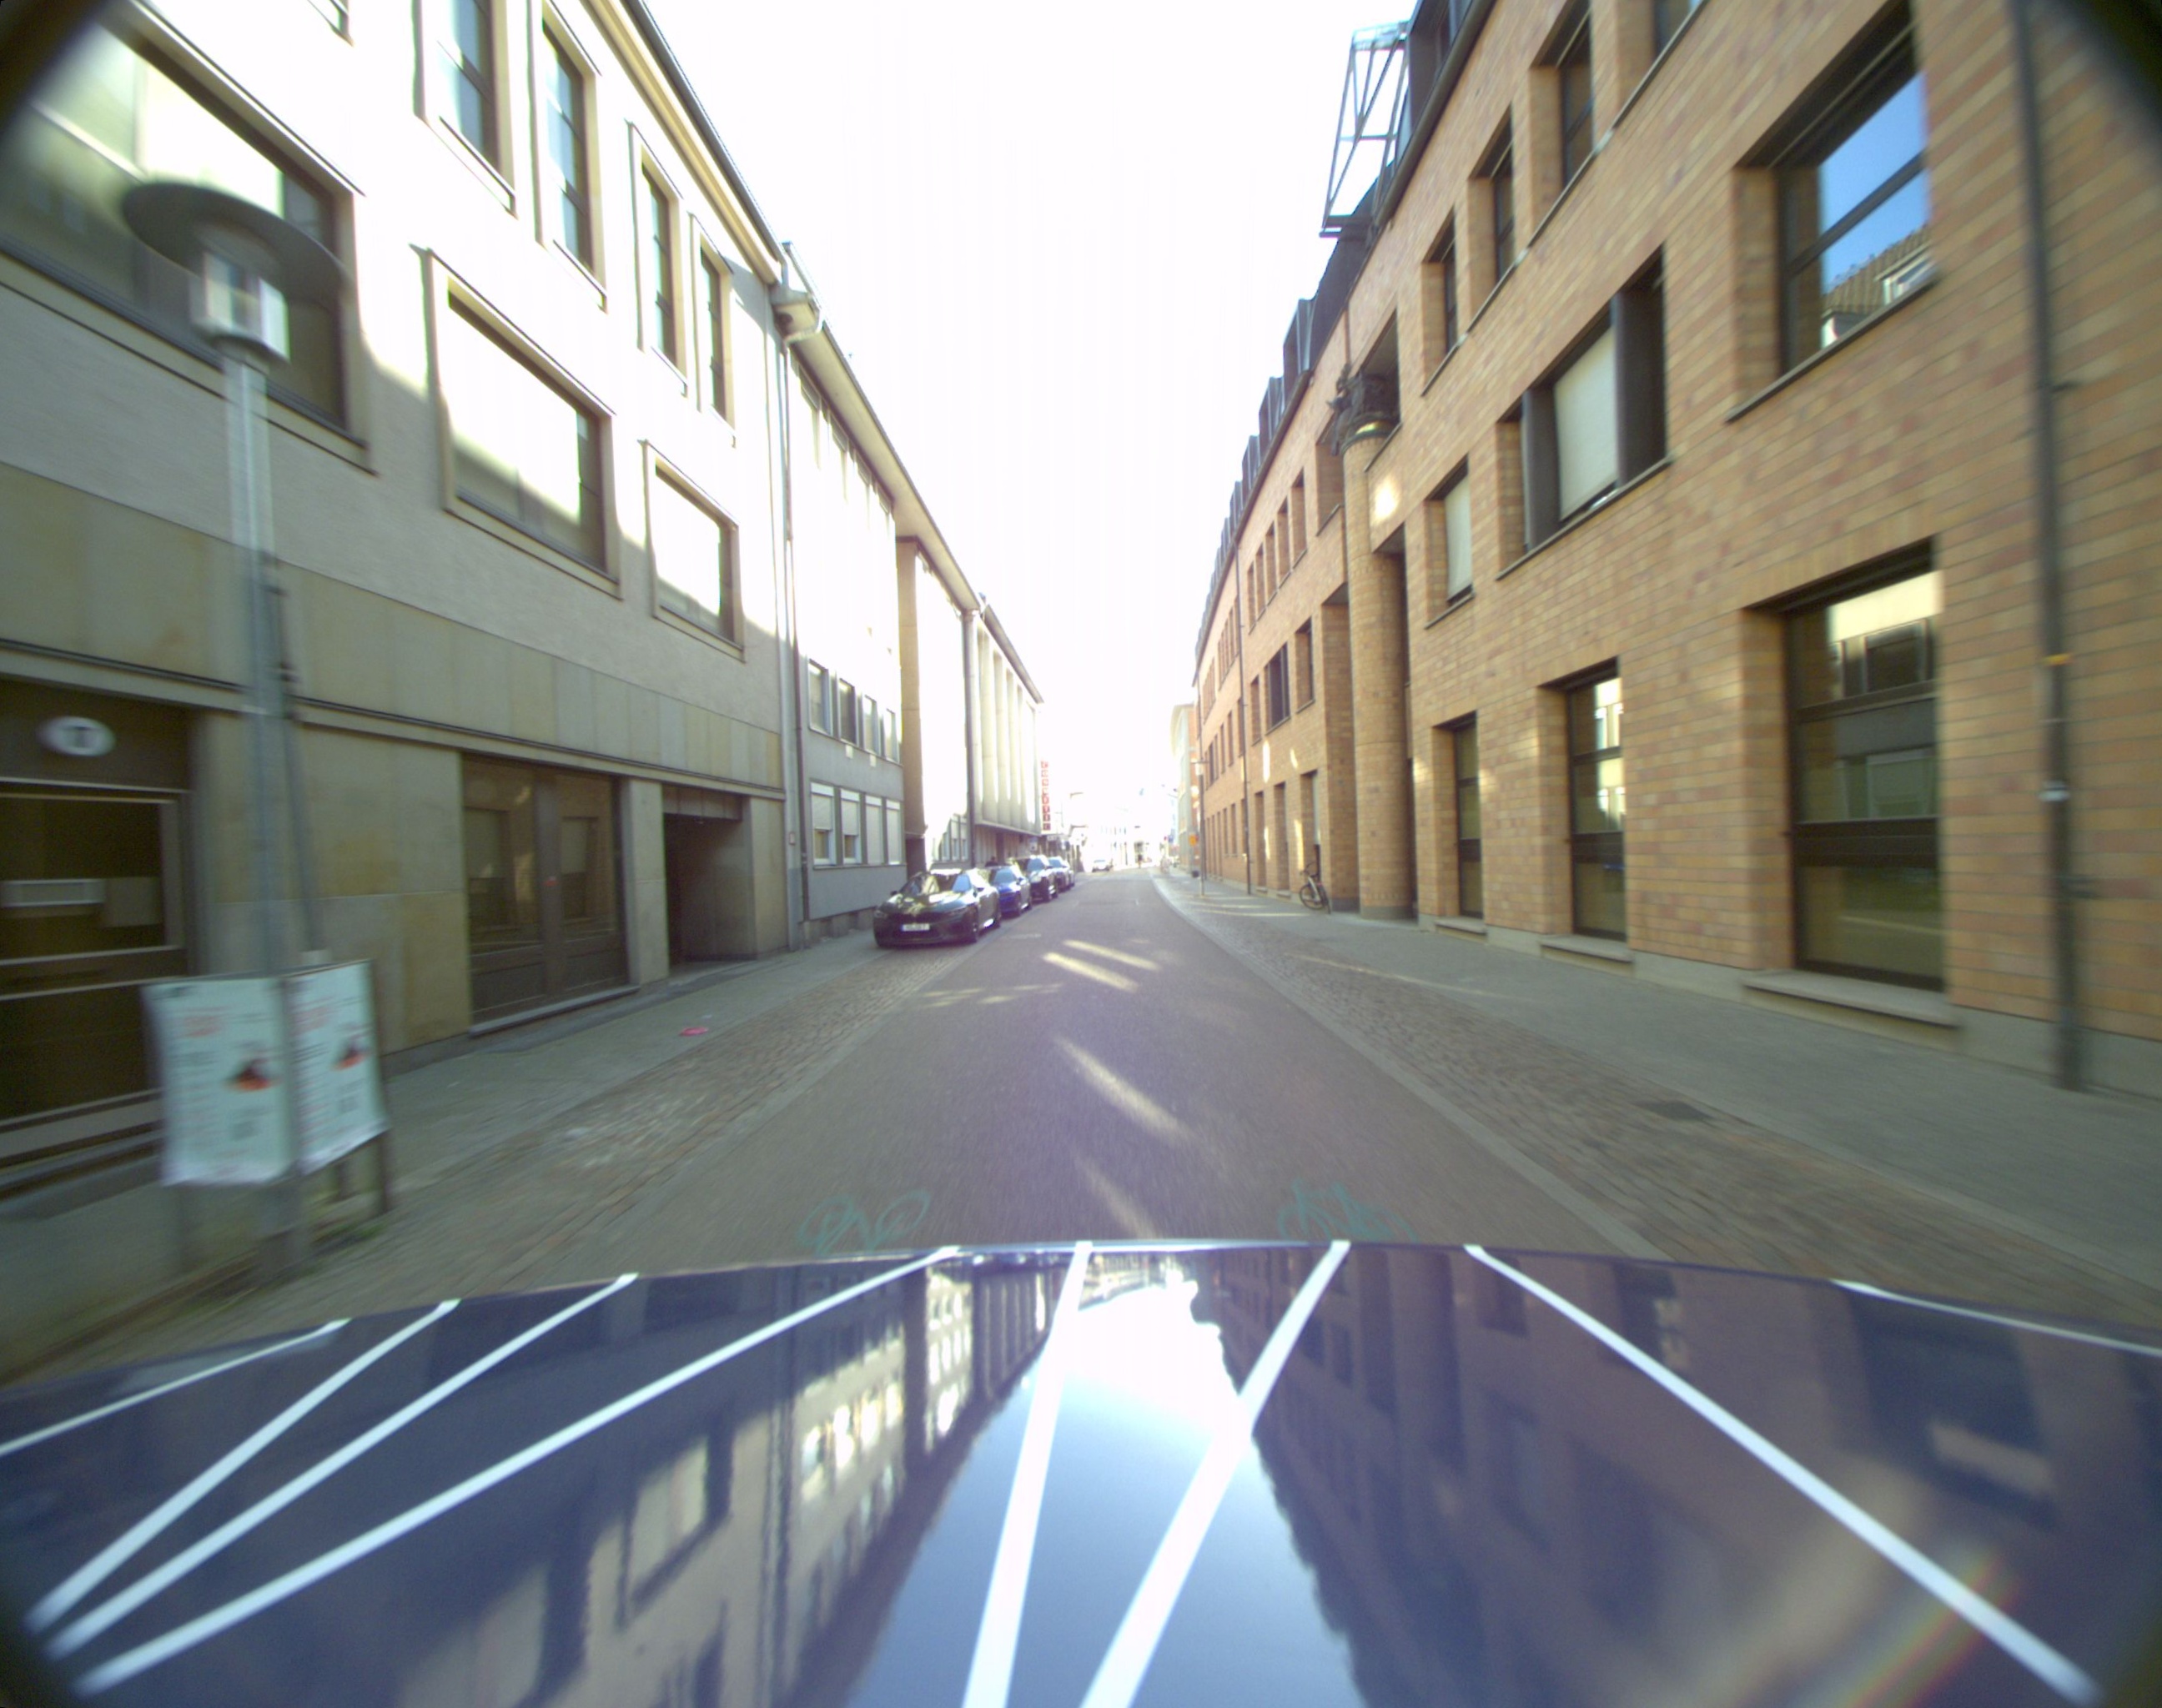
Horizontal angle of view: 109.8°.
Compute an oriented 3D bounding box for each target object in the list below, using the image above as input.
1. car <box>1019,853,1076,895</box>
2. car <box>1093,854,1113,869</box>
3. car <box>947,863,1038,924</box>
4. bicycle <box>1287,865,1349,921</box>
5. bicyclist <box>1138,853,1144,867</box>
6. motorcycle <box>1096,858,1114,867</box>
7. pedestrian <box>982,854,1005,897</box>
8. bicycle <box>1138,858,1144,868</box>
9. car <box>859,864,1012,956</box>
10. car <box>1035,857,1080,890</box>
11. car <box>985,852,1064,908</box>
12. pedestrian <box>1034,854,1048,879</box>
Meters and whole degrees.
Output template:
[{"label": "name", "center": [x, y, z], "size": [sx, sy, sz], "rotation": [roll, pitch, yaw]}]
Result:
[{"label": "car", "center": [-1.487, 0.871, 35.743], "size": [1.998, 1.692, 4.844], "rotation": [-4, 0, 4]}, {"label": "car", "center": [2.356, 0.790, 81.378], "size": [1.846, 1.453, 4.000], "rotation": [-3, 0, 5]}, {"label": "car", "center": [-2.444, 1.065, 22.151], "size": [1.811, 1.404, 4.790], "rotation": [-4, 0, 2]}, {"label": "bicycle", "center": [5.469, 0.873, 17.660], "size": [0.633, 1.156, 1.803], "rotation": [-5, 0, -6]}, {"label": "bicyclist", "center": [6.903, 0.708, 87.742], "size": [0.663, 1.633, 0.926], "rotation": [2, 1, 5]}, {"label": "motorcycle", "center": [2.789, 1.001, 88.589], "size": [1.995, 0.950, 0.646], "rotation": [-2, 0, 19]}, {"label": "pedestrian", "center": [-3.479, 0.852, 30.363], "size": [0.790, 1.711, 0.746], "rotation": [0, 1, 3]}, {"label": "bicycle", "center": [6.889, 1.066, 87.625], "size": [0.652, 1.125, 1.736], "rotation": [2, 1, 5]}, {"label": "car", "center": [-2.832, 1.036, 16.127], "size": [1.898, 1.444, 5.226], "rotation": [-4, 0, 3]}, {"label": "car", "center": [-1.212, 0.994, 41.119], "size": [1.827, 1.496, 4.601], "rotation": [-5, 0, 4]}, {"label": "car", "center": [-1.993, 0.876, 28.317], "size": [2.108, 1.775, 5.053], "rotation": [-3, 0, 4]}, {"label": "pedestrian", "center": [-2.730, 0.852, 51.760], "size": [0.623, 1.726, 0.625], "rotation": [-3, 1, -42]}]
